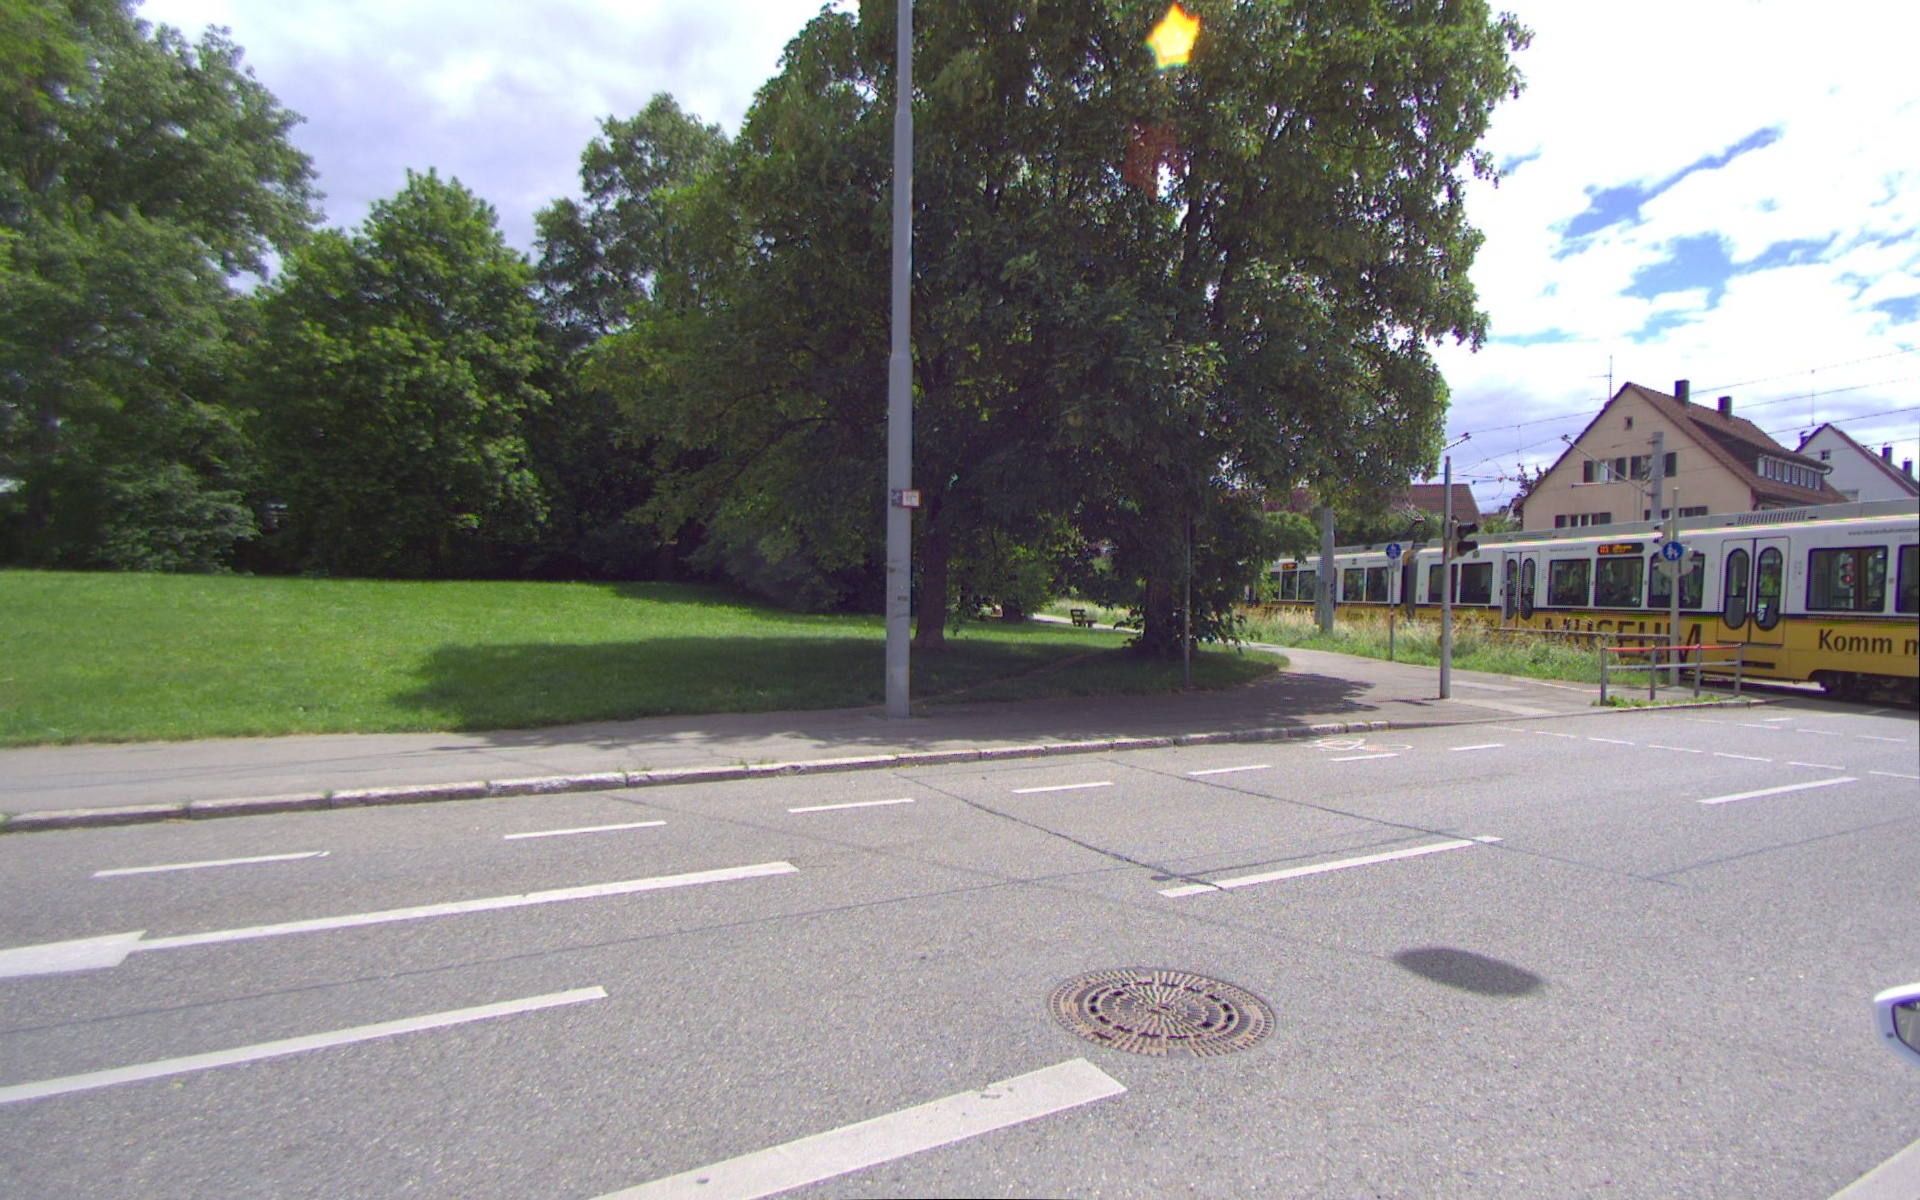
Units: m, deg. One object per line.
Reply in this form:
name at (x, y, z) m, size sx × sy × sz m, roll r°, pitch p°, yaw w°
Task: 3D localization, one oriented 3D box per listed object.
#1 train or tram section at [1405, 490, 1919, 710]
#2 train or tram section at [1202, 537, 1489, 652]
train or tram section at (17.084, -0.059, 23.574) m, size 2.864 × 3.754 × 19.098 m, roll 1°, pitch 1°, yaw -6°
train or tram section at (14.978, -0.273, 42.495) m, size 2.864 × 3.754 × 19.098 m, roll 1°, pitch 1°, yaw -6°
